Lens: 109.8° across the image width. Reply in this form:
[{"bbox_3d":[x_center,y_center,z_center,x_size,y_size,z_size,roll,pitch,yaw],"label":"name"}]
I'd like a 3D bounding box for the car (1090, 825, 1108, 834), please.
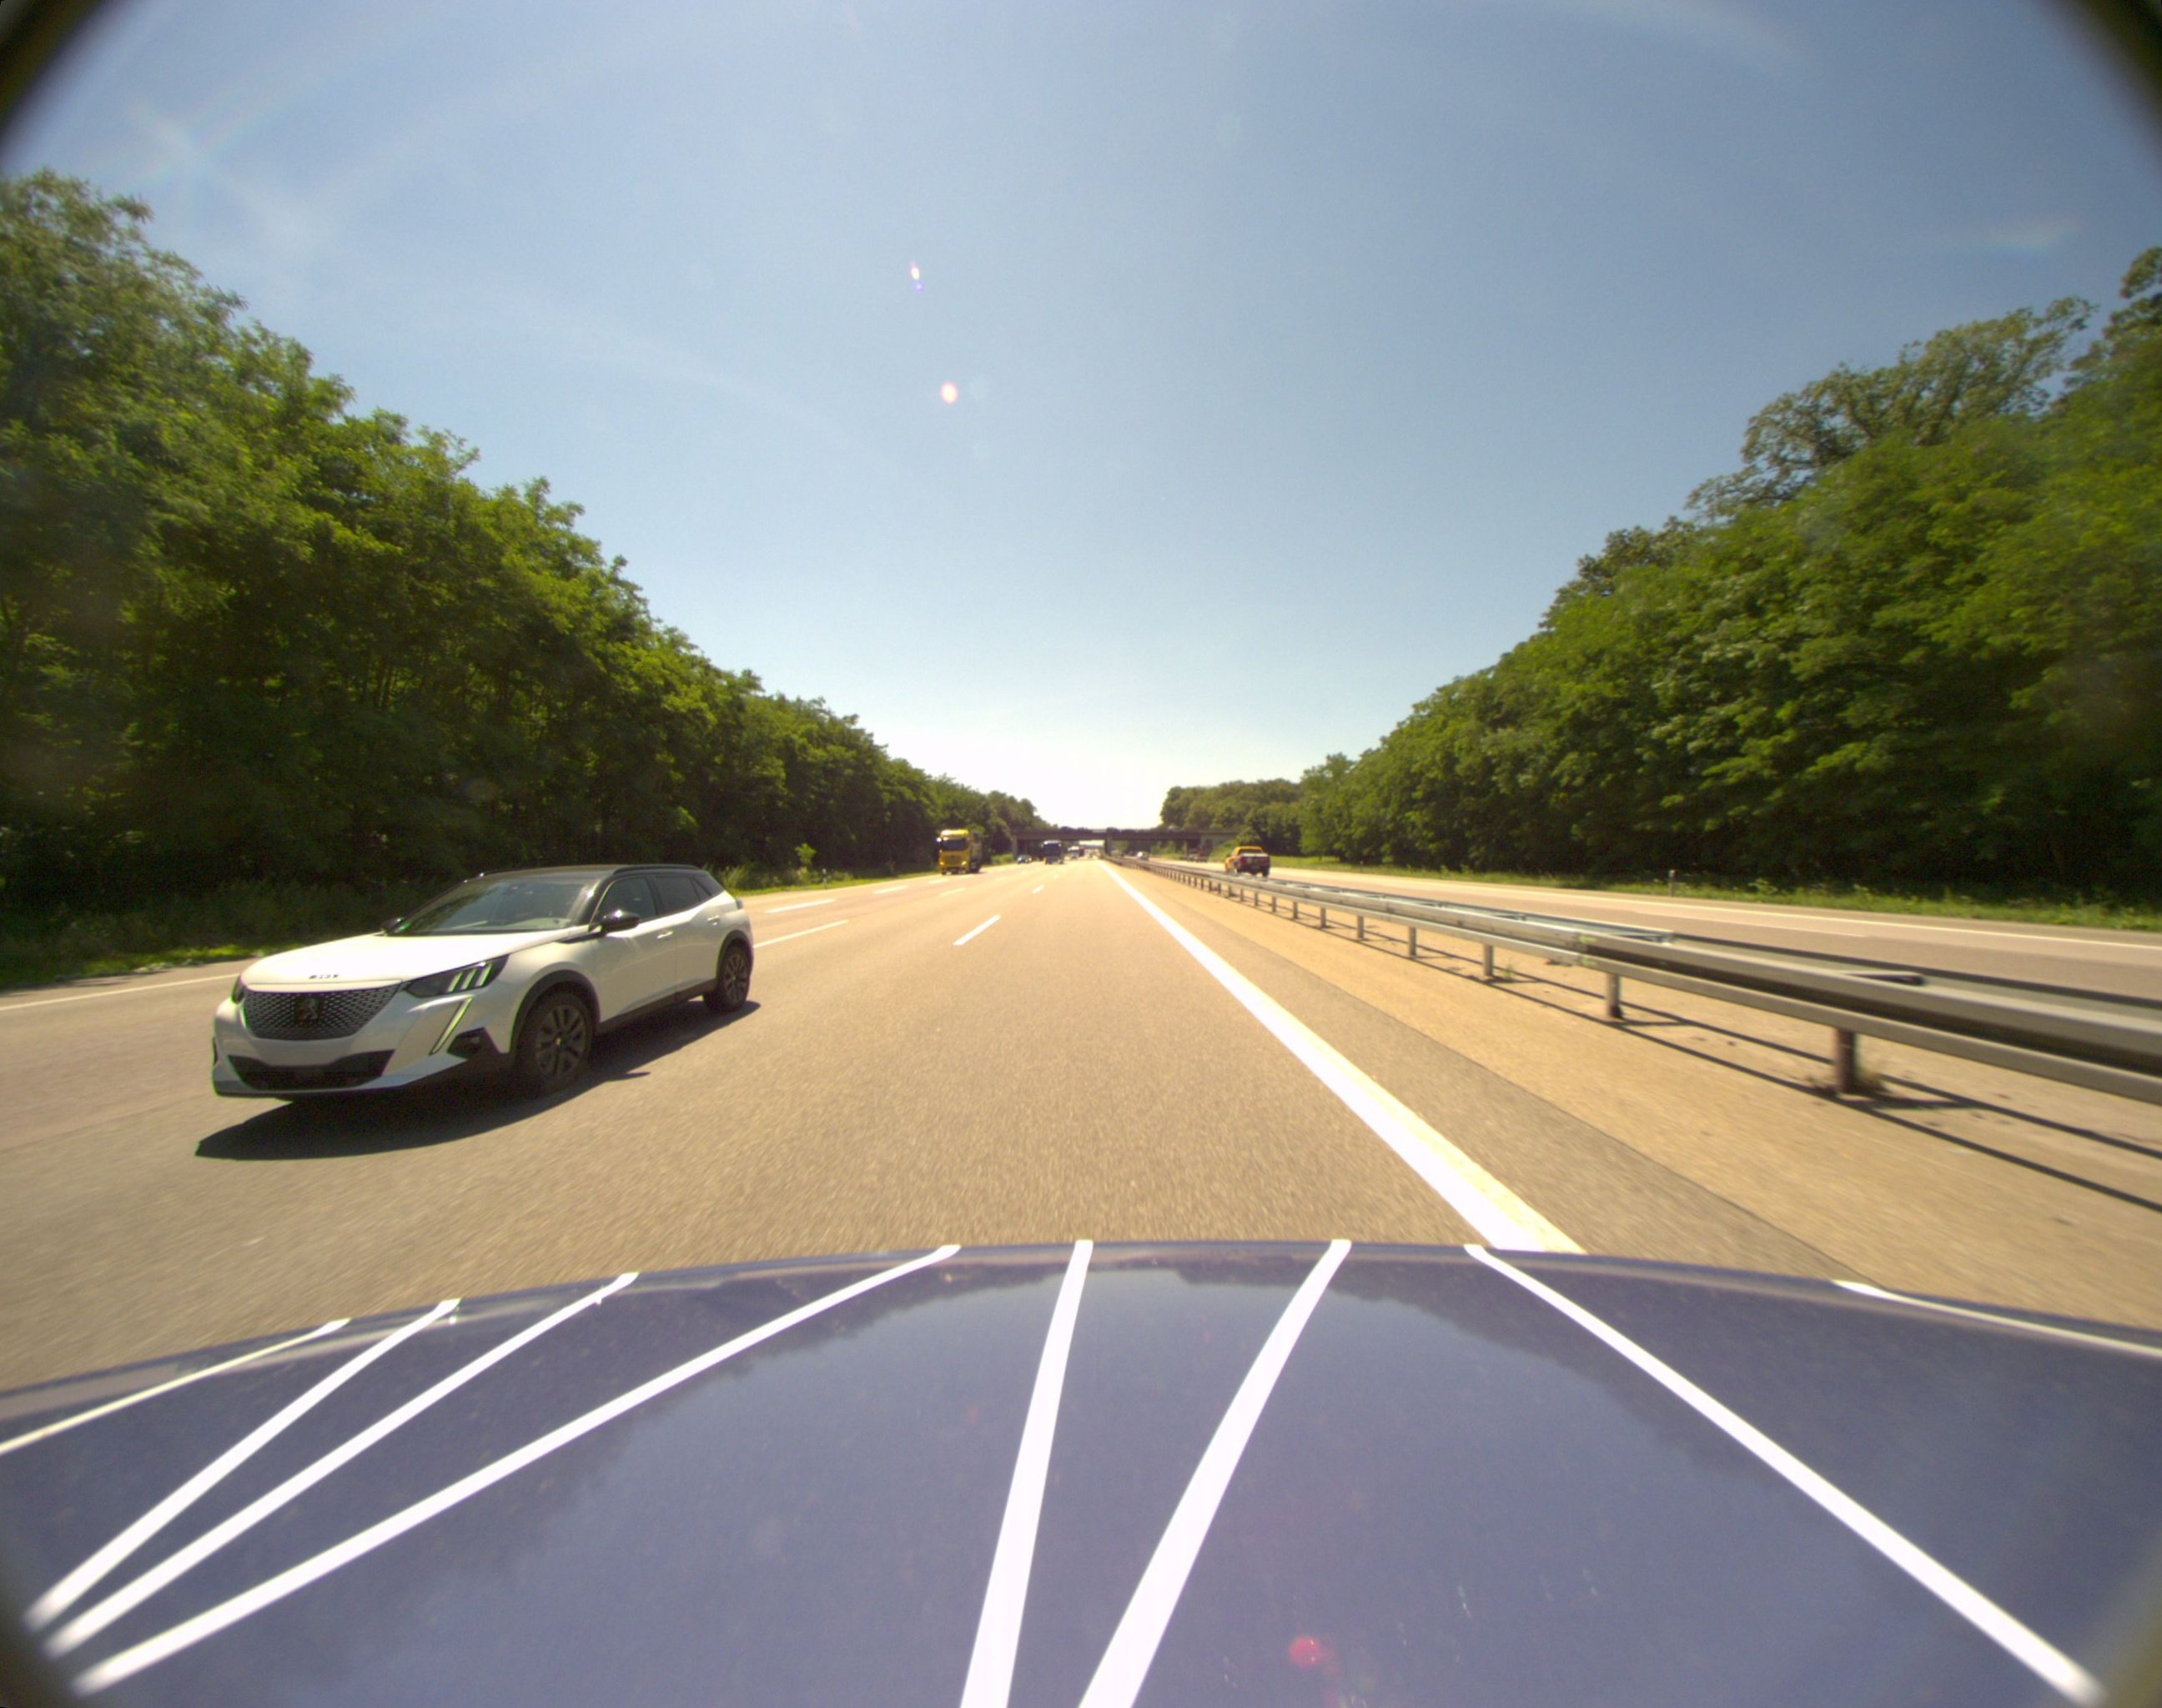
[{"bbox_3d":[4.222,-5.791,178.178,3.998,2.002,1.999,-2,1,-2],"label":"car"}]

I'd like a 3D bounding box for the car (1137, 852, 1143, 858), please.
[{"bbox_3d":[20.385,0.336,264.279,1.744,1.795,4.934,1,1,1],"label":"car"}]

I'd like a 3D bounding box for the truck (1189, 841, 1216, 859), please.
[{"bbox_3d":[20.857,-0.639,131.383,2.760,2.973,12.854,0,0,1],"label":"truck"}]

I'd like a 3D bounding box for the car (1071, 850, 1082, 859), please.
[{"bbox_3d":[-1.211,0.125,209.258,2.616,2.389,7.122,-2,1,0],"label":"car"}]

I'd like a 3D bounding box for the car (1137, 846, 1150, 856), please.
[{"bbox_3d":[11.744,-0.582,142.247,1.998,1.696,5.265,-2,-1,1],"label":"car"}]

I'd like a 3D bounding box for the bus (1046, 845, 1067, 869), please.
[{"bbox_3d":[-3.873,0.428,121.027,2.617,3.532,13.681,-2,0,1],"label":"bus"}]

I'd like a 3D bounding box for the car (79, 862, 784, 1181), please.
[{"bbox_3d":[-4.445,0.932,6.509,1.831,1.599,4.808,-1,1,1],"label":"car"}]

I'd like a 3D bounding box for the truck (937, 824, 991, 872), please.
[{"bbox_3d":[-10.899,-0.576,72.151,2.982,4.013,10.981,-3,1,2],"label":"truck"}]

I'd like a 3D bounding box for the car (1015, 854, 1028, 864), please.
[{"bbox_3d":[-10.365,0.851,132.361,1.875,1.547,4.201,-2,1,1],"label":"car"}]

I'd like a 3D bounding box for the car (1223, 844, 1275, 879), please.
[{"bbox_3d":[10.221,0.427,46.625,1.998,1.952,5.211,-2,1,1],"label":"car"}]
